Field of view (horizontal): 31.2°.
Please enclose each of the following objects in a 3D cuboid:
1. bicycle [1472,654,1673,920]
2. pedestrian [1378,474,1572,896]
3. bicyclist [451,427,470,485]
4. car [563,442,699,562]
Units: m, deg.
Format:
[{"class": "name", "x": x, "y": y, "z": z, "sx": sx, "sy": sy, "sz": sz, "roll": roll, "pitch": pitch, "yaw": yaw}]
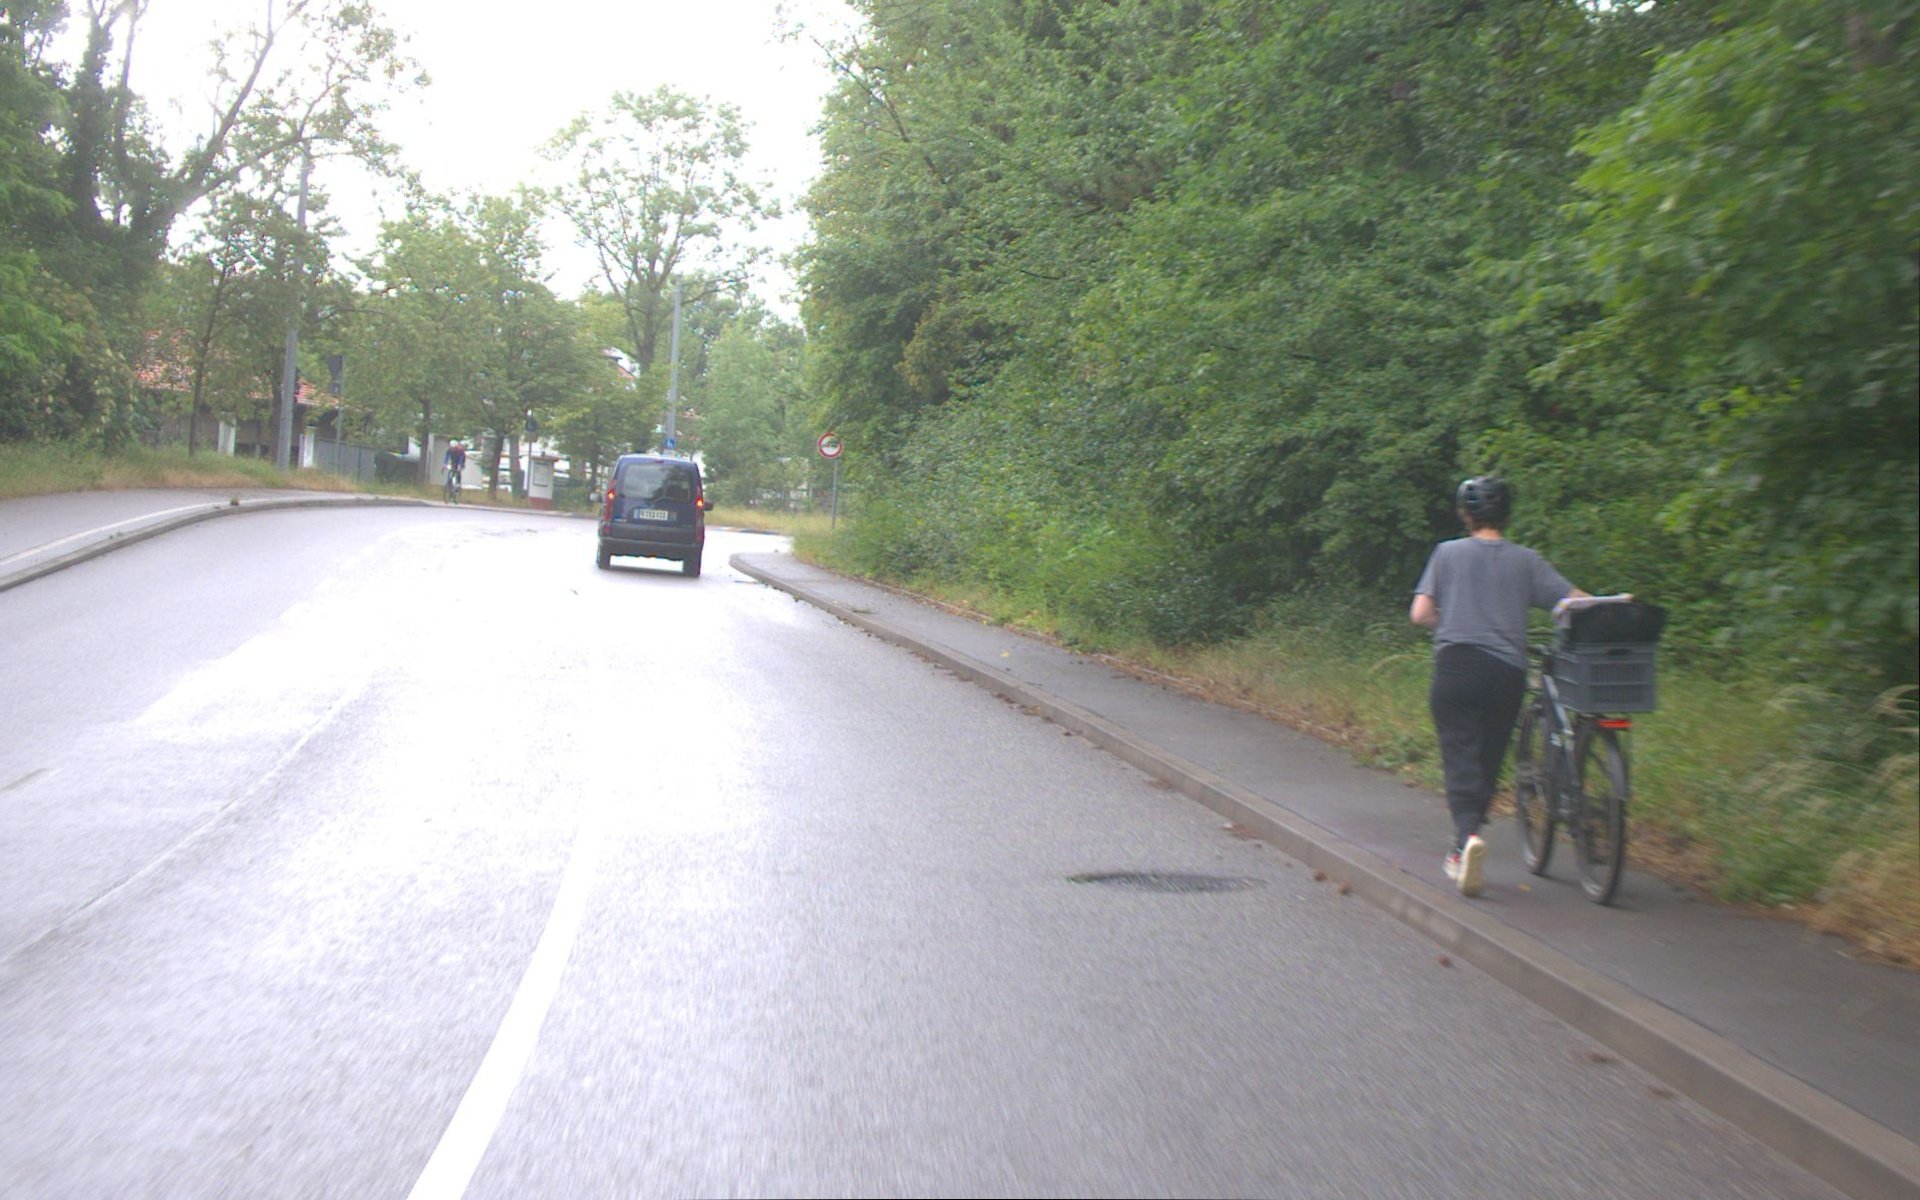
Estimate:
[{"class": "bicycle", "x": 2.336, "y": 0.688, "z": 13.253, "sx": 0.355, "sy": 0.846, "sz": 1.743, "roll": -1, "pitch": 3, "yaw": -4}, {"class": "pedestrian", "x": 1.978, "y": 0.324, "z": 13.266, "sx": 0.564, "sy": 1.571, "sz": 0.770, "roll": 1, "pitch": -1, "yaw": -3}, {"class": "bicyclist", "x": -13.754, "y": -3.969, "z": 94.670, "sx": 0.336, "sy": 1.569, "sz": 1.298, "roll": 3, "pitch": 2, "yaw": -4}, {"class": "car", "x": -5.288, "y": -1.529, "z": 54.894, "sx": 1.826, "sy": 1.788, "sz": 4.001, "roll": 1, "pitch": 0, "yaw": -10}]
